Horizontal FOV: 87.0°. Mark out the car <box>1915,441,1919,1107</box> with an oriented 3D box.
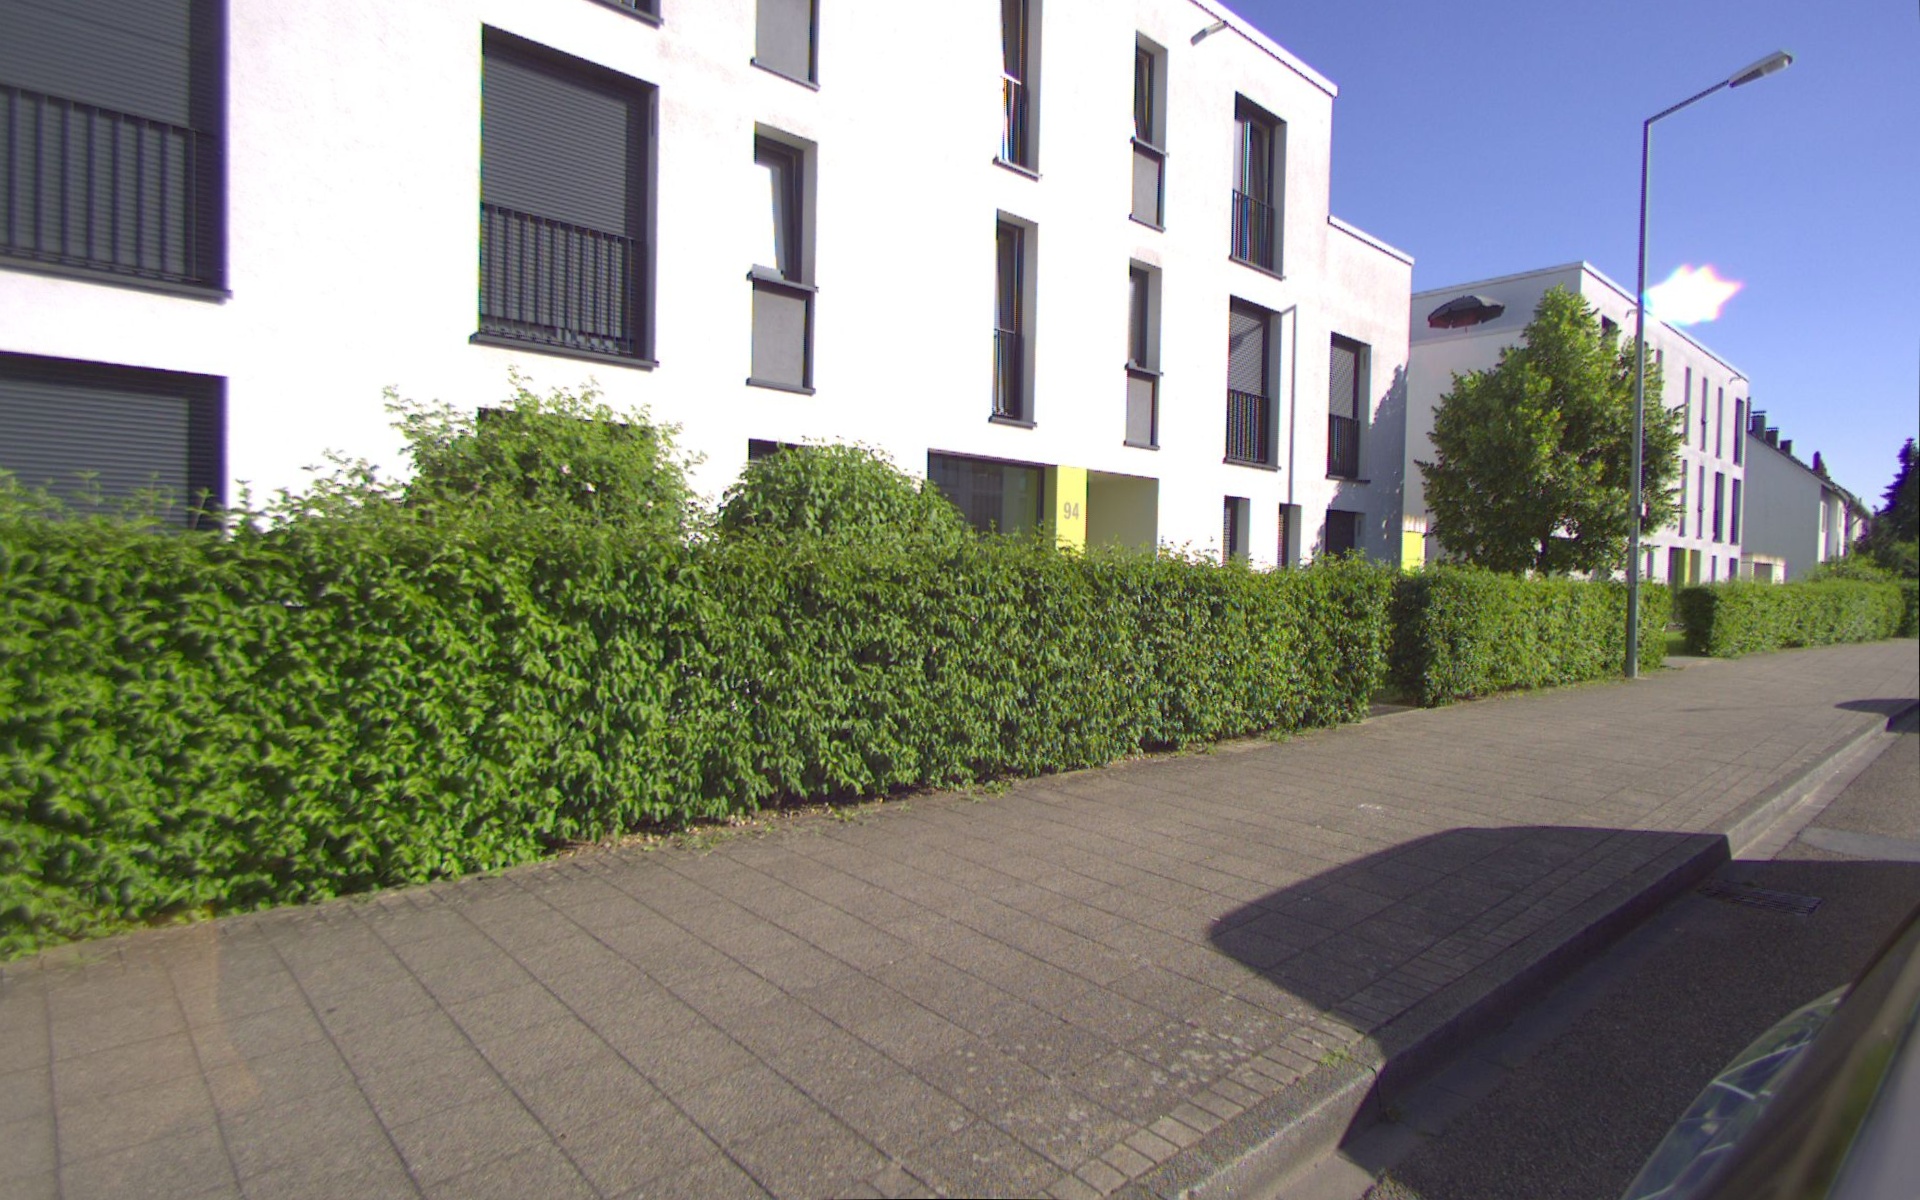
[{"bbox_3d":[5.273,0.525,3.747,5.113,1.958,1.978,0,0,-40],"label":"car"}]
